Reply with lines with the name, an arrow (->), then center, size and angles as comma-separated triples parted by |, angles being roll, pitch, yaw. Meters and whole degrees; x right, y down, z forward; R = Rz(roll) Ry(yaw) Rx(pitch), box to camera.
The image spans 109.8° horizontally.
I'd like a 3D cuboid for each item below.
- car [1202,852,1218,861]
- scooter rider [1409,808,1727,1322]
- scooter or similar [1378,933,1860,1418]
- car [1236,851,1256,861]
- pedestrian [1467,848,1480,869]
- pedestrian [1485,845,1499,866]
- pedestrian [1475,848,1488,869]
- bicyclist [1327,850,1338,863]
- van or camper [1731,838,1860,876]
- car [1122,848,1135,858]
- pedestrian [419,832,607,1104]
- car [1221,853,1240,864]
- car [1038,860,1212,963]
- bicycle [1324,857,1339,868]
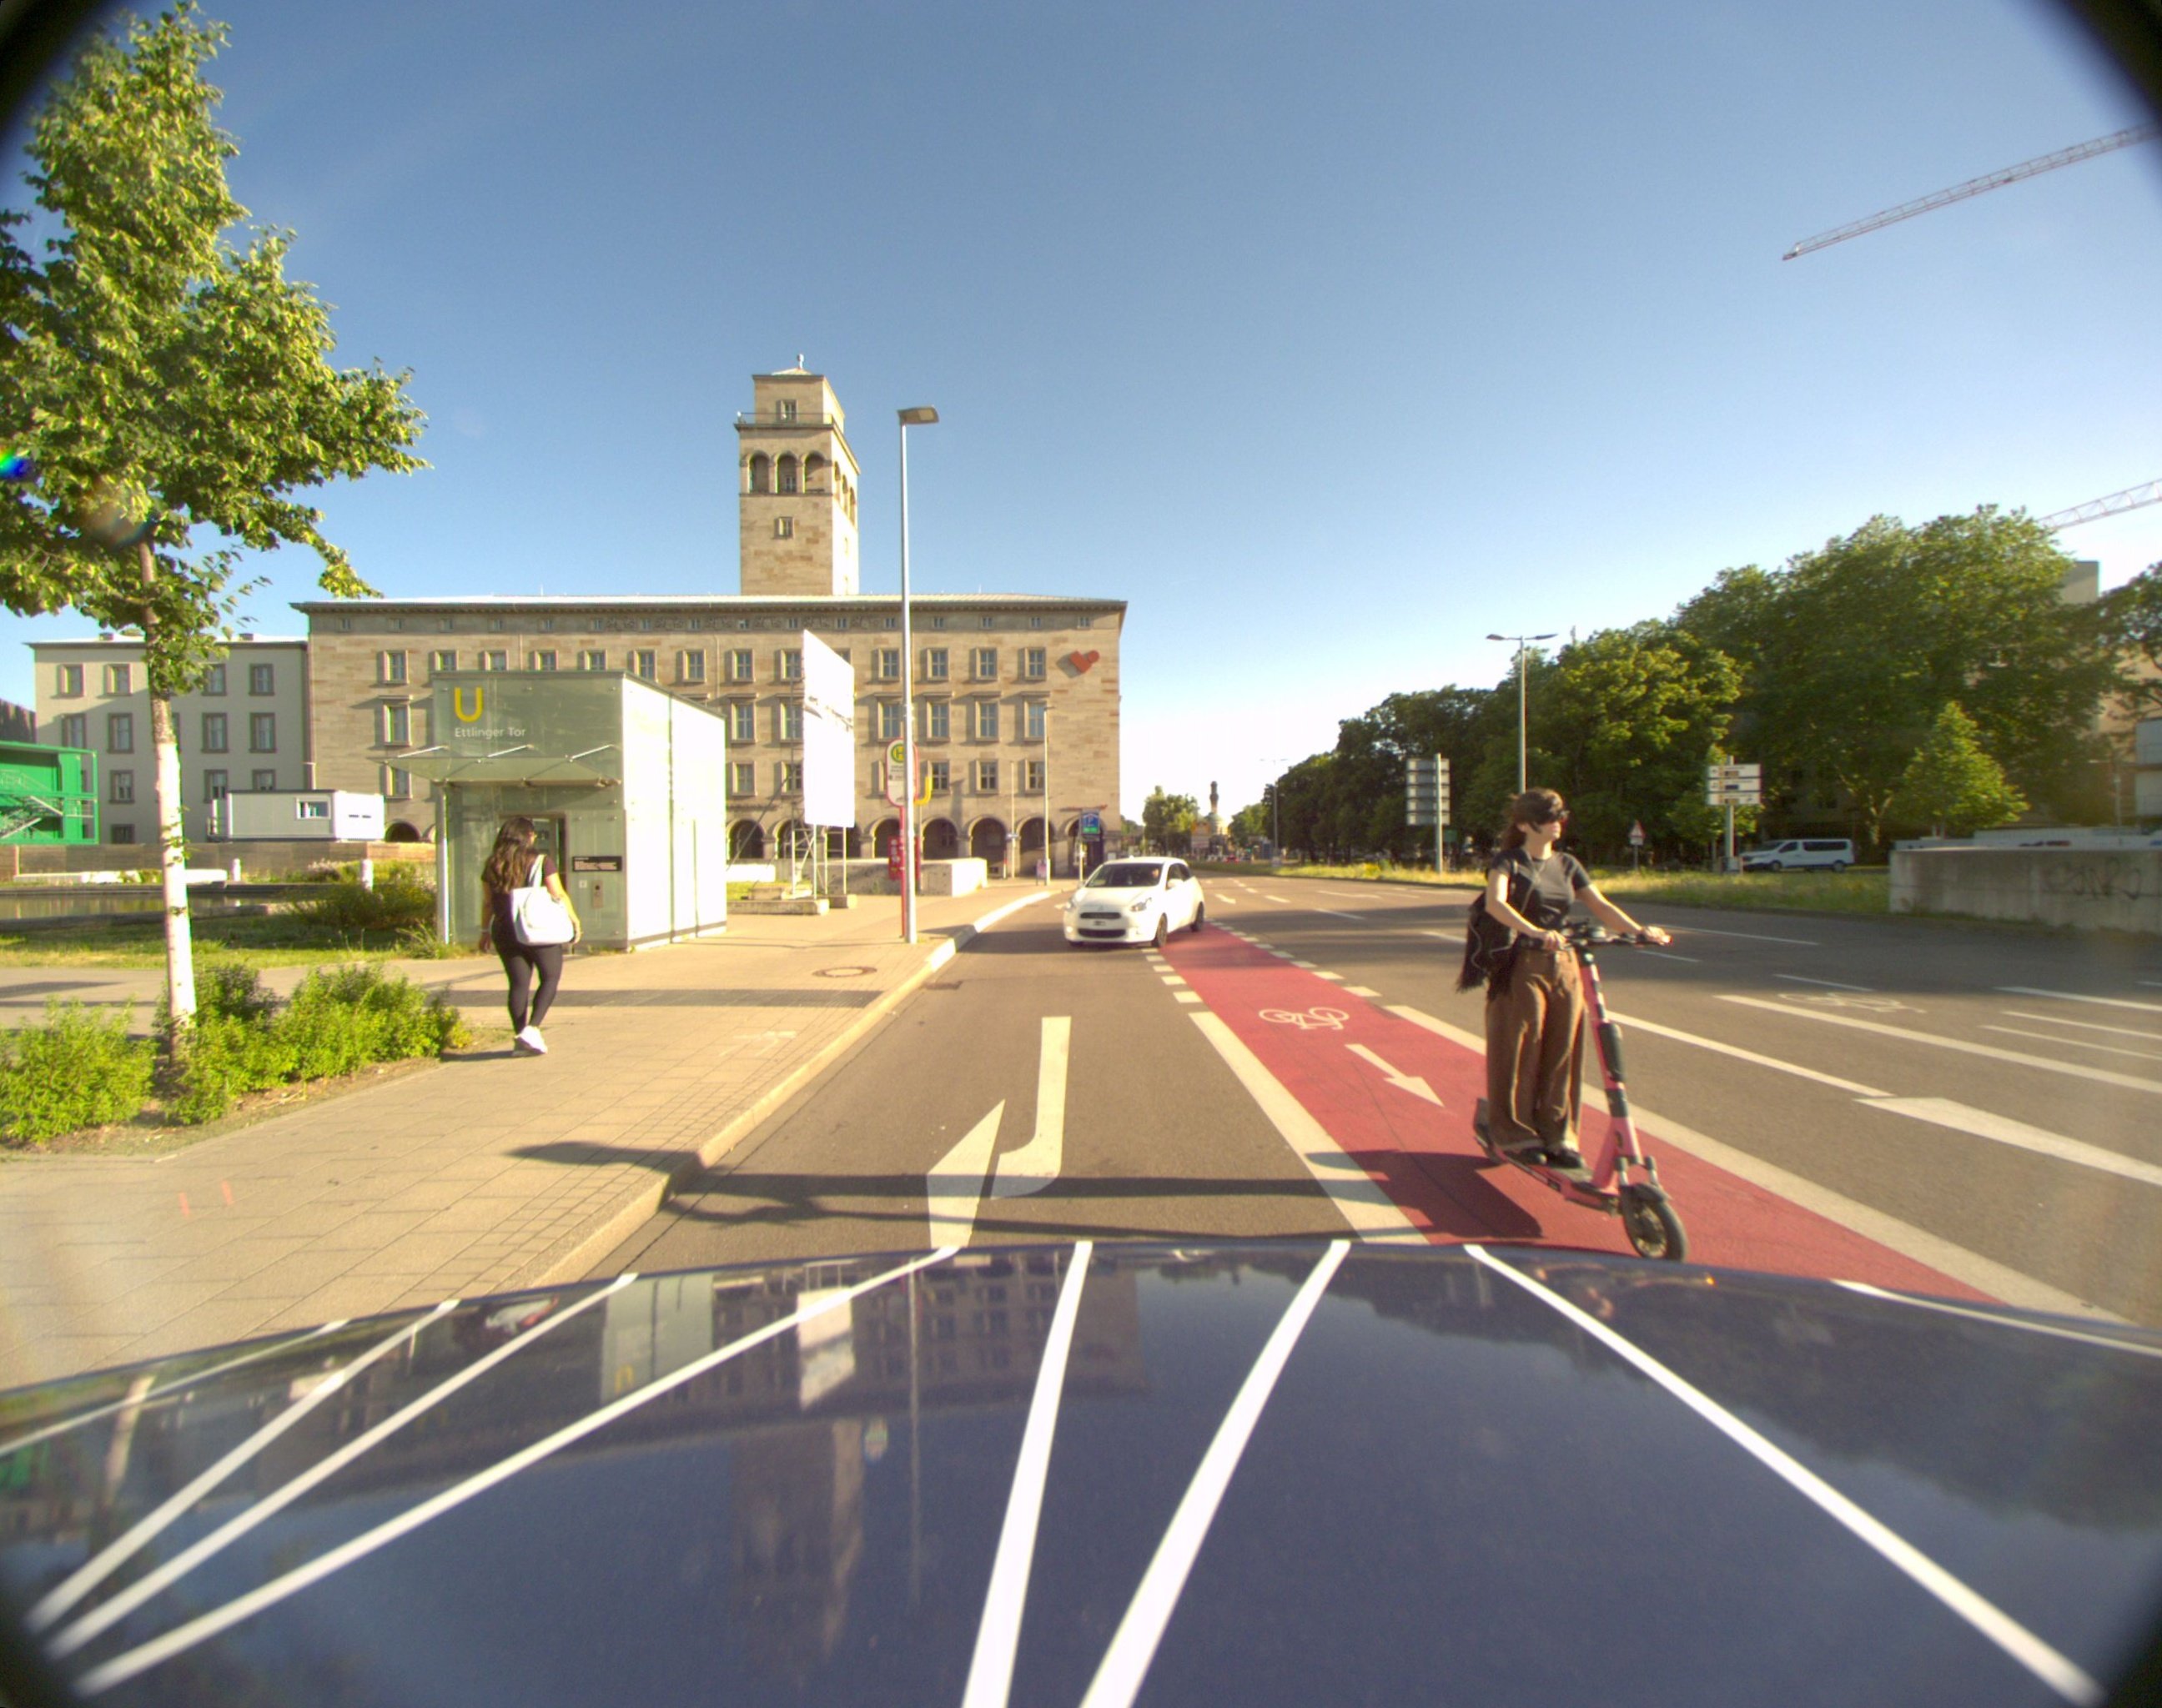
car -> 20.392, 0.371, 120.242 | 1.873, 1.390, 3.999 | -1, 0, -2
scooter rider -> 1.856, 0.729, 3.023 | 0.730, 1.764, 0.811 | -1, 1, 1
scooter or similar -> 1.860, 1.009, 2.998 | 0.730, 1.195, 1.664 | -1, 0, 1
car -> 26.029, 0.317, 120.015 | 1.999, 1.499, 3.998 | -1, 0, -3
pedestrian -> 32.058, 0.386, 62.058 | 0.707, 1.715, 0.762 | -1, 1, 1
pedestrian -> 33.721, 0.152, 62.325 | 0.707, 1.715, 0.762 | -1, 1, 1
pedestrian -> 32.866, 0.351, 62.405 | 0.665, 1.715, 0.762 | -1, 1, 1
bicyclist -> 24.394, 0.267, 73.682 | 0.639, 1.275, 0.885 | -1, 1, -4
van or camper -> 42.301, 0.155, 45.076 | 5.649, 2.002, 1.948 | -2, 1, 2
car -> 8.294, -0.202, 133.965 | 1.937, 1.634, 4.616 | -1, 0, 0
pedestrian -> -4.135, 0.740, 5.650 | 0.944, 1.776, 1.070 | -1, 1, -29
car -> 21.175, 0.631, 107.632 | 1.872, 1.390, 3.999 | -1, 0, -1
car -> 0.938, 0.890, 13.349 | 1.676, 1.440, 3.895 | -2, 0, 25
bicycle -> 24.383, 0.818, 73.948 | 0.639, 1.016, 2.242 | -1, 0, -4
